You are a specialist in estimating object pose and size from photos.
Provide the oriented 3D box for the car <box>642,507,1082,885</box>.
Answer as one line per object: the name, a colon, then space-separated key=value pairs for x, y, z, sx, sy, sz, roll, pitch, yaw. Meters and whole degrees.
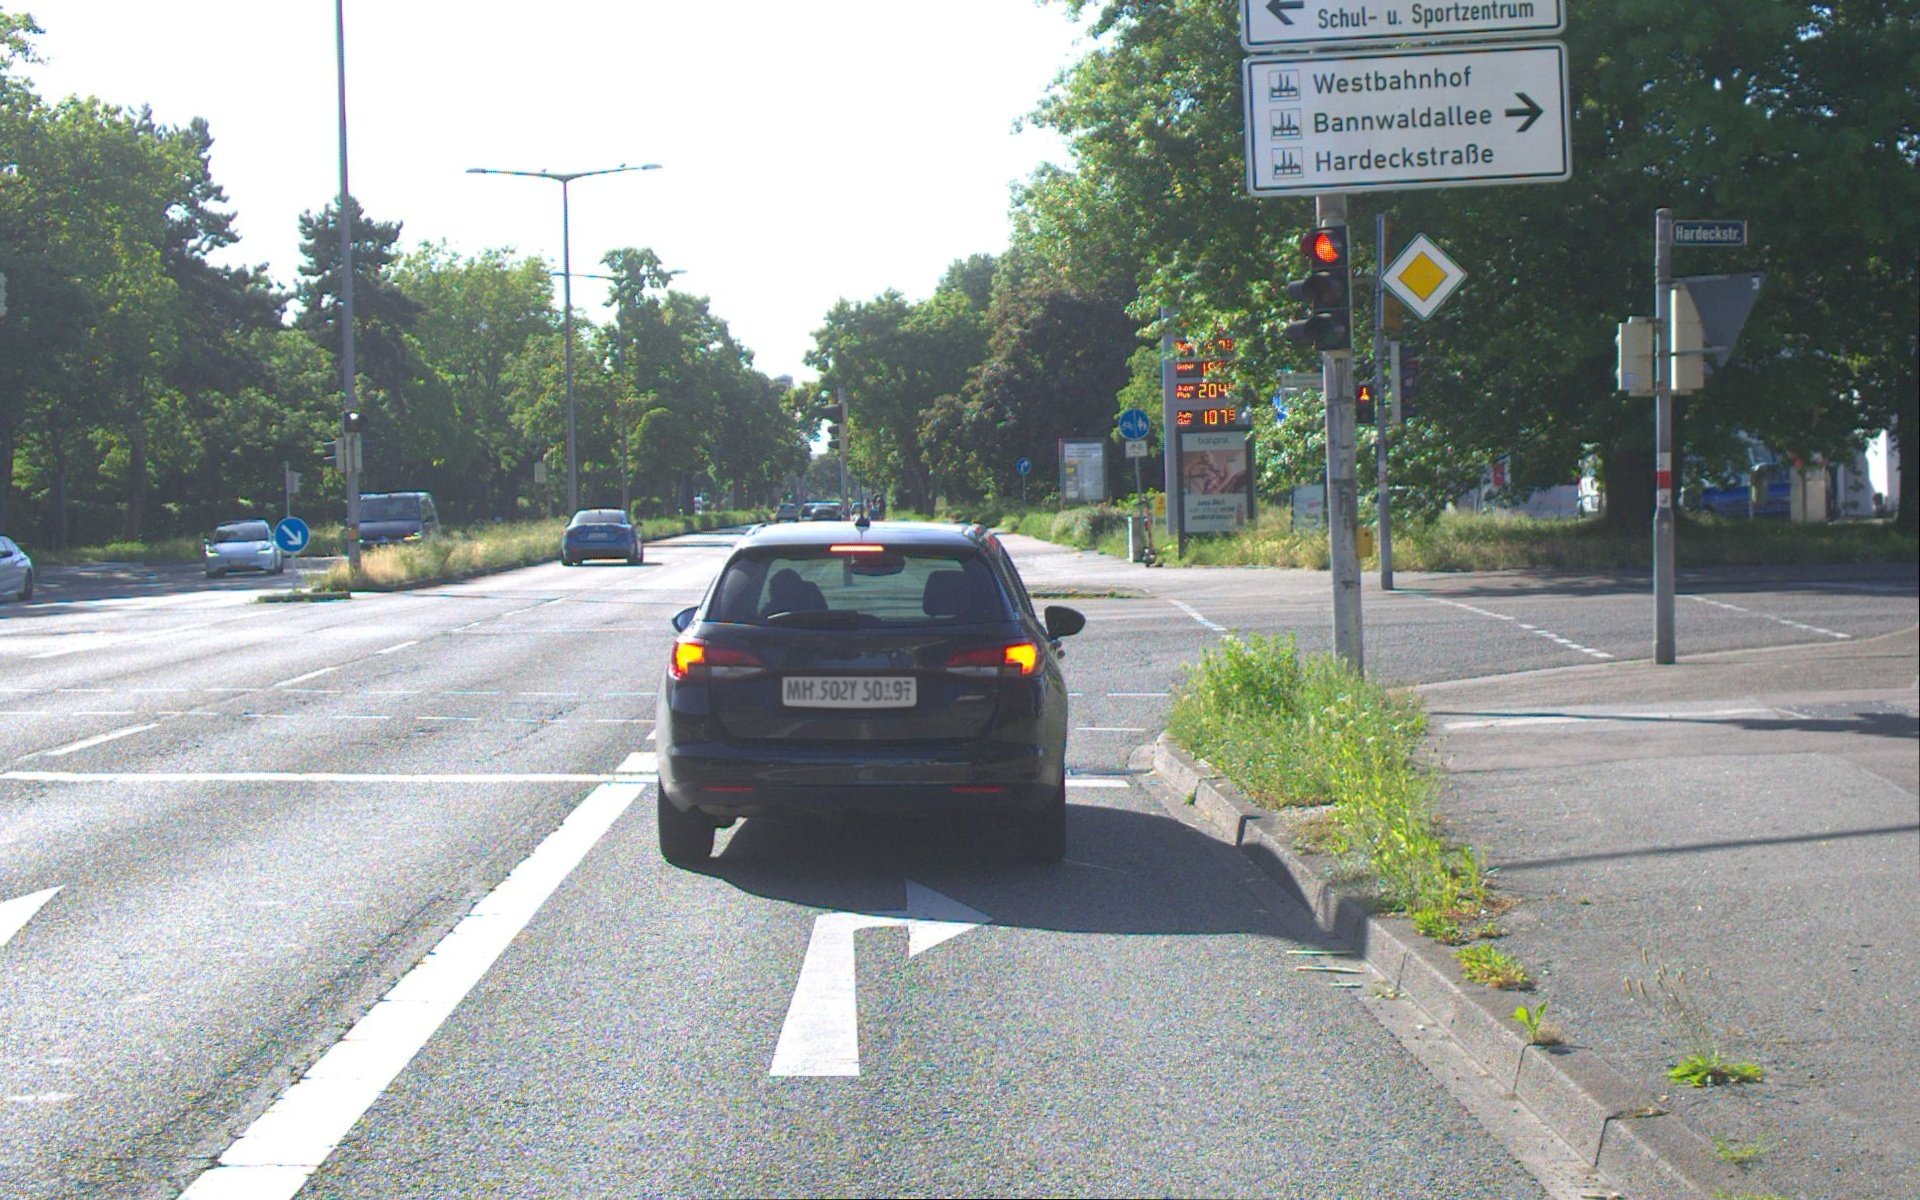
car: x=-0.437 y=0.348 z=15.767 sx=1.755 sy=1.504 sz=3.809 roll=-1 pitch=1 yaw=-1

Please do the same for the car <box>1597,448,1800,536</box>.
car: x=14.812 y=-2.153 z=68.899 sx=3.711 sy=1.679 sz=1.704 roll=0 pitch=1 yaw=-27

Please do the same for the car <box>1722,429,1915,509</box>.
car: x=18.664 y=-2.840 z=74.823 sx=3.711 sy=1.679 sz=1.704 roll=1 pitch=1 yaw=-3

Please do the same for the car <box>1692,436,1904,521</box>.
car: x=16.208 y=-2.332 z=66.462 sx=3.836 sy=1.558 sz=1.805 roll=0 pitch=1 yaw=-33

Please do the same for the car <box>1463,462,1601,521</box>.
car: x=16.918 y=-3.195 z=101.819 sx=3.711 sy=1.679 sz=1.704 roll=1 pitch=1 yaw=-3

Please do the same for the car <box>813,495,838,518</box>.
car: x=-9.626 y=-6.703 z=245.804 sx=1.732 sy=1.579 sz=3.841 roll=1 pitch=1 yaw=-1

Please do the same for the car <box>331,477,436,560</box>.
car: x=-14.427 y=-2.042 z=86.213 sx=1.993 sy=2.007 sz=4.000 roll=1 pitch=1 yaw=-1

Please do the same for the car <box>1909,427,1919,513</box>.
car: x=18.604 y=-2.225 z=59.501 sx=3.835 sy=1.477 sz=1.806 roll=0 pitch=1 yaw=-20

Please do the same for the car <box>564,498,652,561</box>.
car: x=-9.004 y=-1.806 z=88.149 sx=1.888 sy=1.546 sz=4.000 roll=-1 pitch=1 yaw=-1

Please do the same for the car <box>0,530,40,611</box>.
car: x=-20.910 y=-0.637 z=72.636 sx=1.864 sy=1.678 sz=4.261 roll=1 pitch=1 yaw=-1

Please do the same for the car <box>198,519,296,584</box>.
car: x=-19.207 y=-1.313 z=92.699 sx=1.864 sy=1.678 sz=4.000 roll=1 pitch=1 yaw=-1
